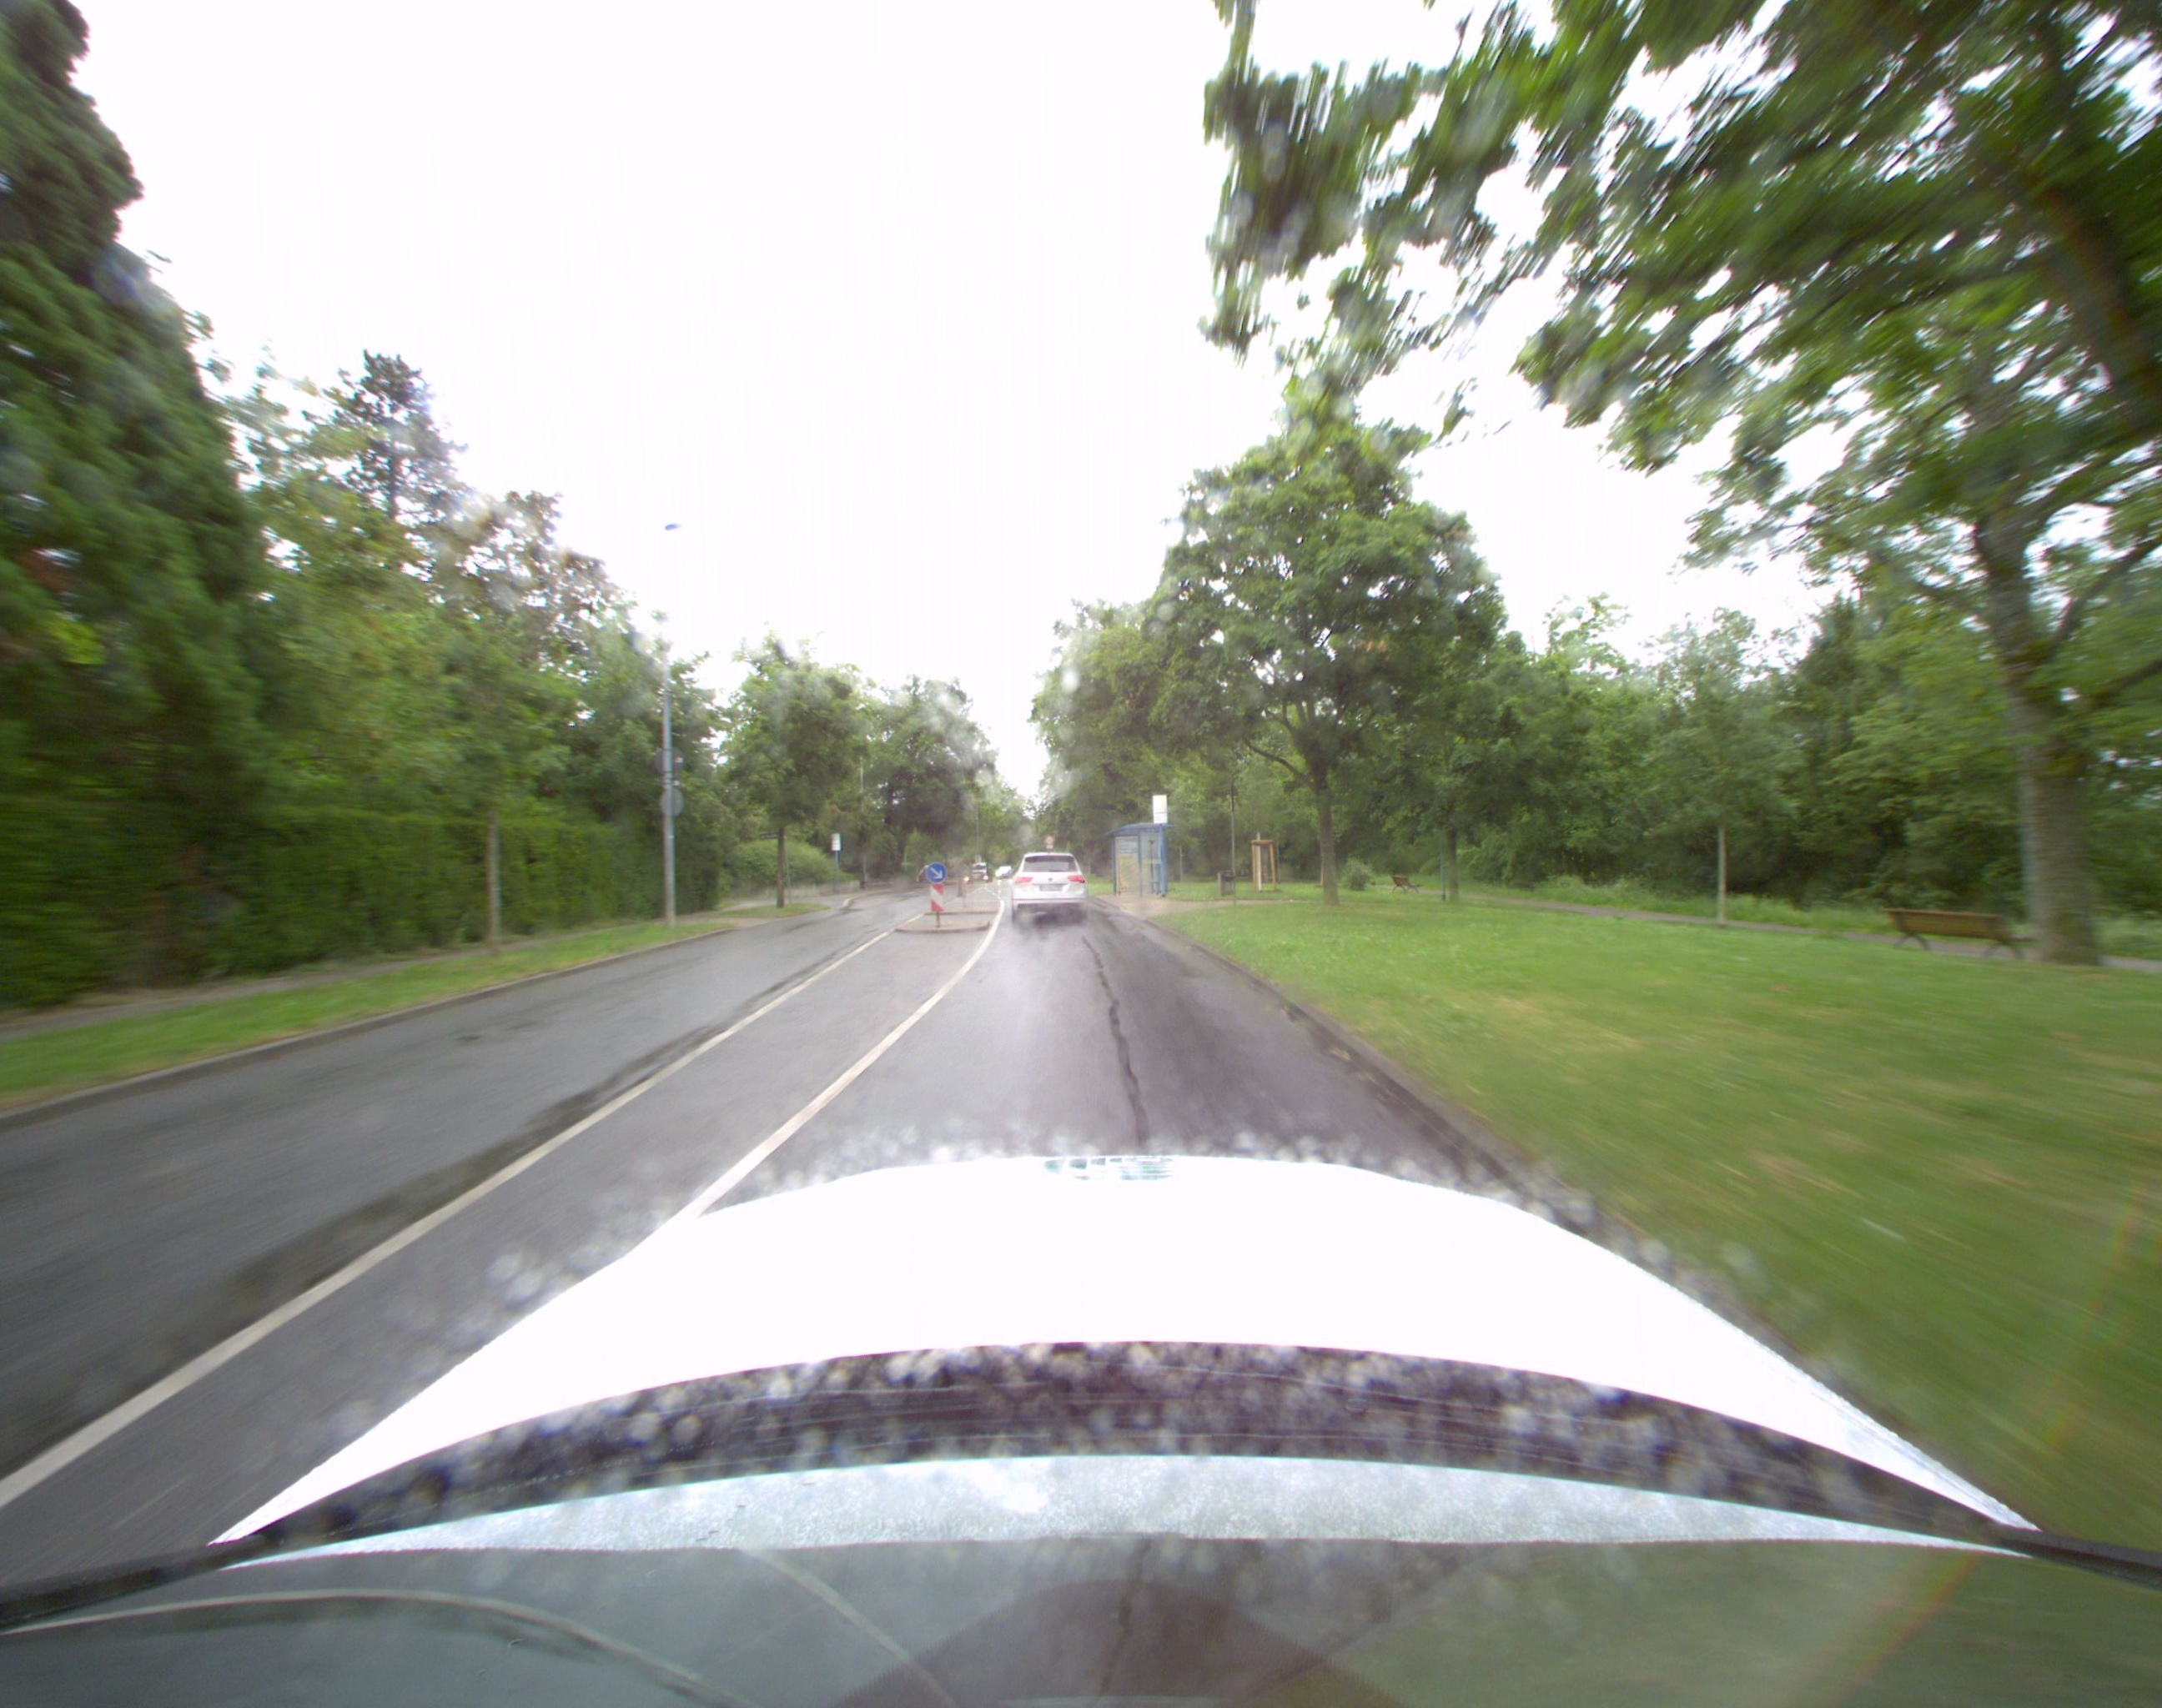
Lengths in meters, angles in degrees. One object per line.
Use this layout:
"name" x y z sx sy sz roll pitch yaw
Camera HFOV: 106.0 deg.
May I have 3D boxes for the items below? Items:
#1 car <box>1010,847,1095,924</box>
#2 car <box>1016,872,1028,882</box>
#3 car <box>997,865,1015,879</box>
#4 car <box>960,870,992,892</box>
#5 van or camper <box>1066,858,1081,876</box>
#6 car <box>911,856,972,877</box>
"car" -0.738 0.744 20.690 1.901 1.685 4.196 -2 -1 -3
"car" -9.577 3.675 131.735 1.696 1.410 4.006 -4 -1 -1
"car" -8.312 1.944 90.669 1.786 1.423 4.354 -3 -1 -3
"car" -8.245 2.056 63.556 1.997 1.577 3.980 -1 -1 -14
"van or camper" -1.078 2.022 123.575 2.009 2.583 8.435 0 -1 1
"car" -13.967 1.285 82.055 5.735 2.038 3.472 0 -1 -6
